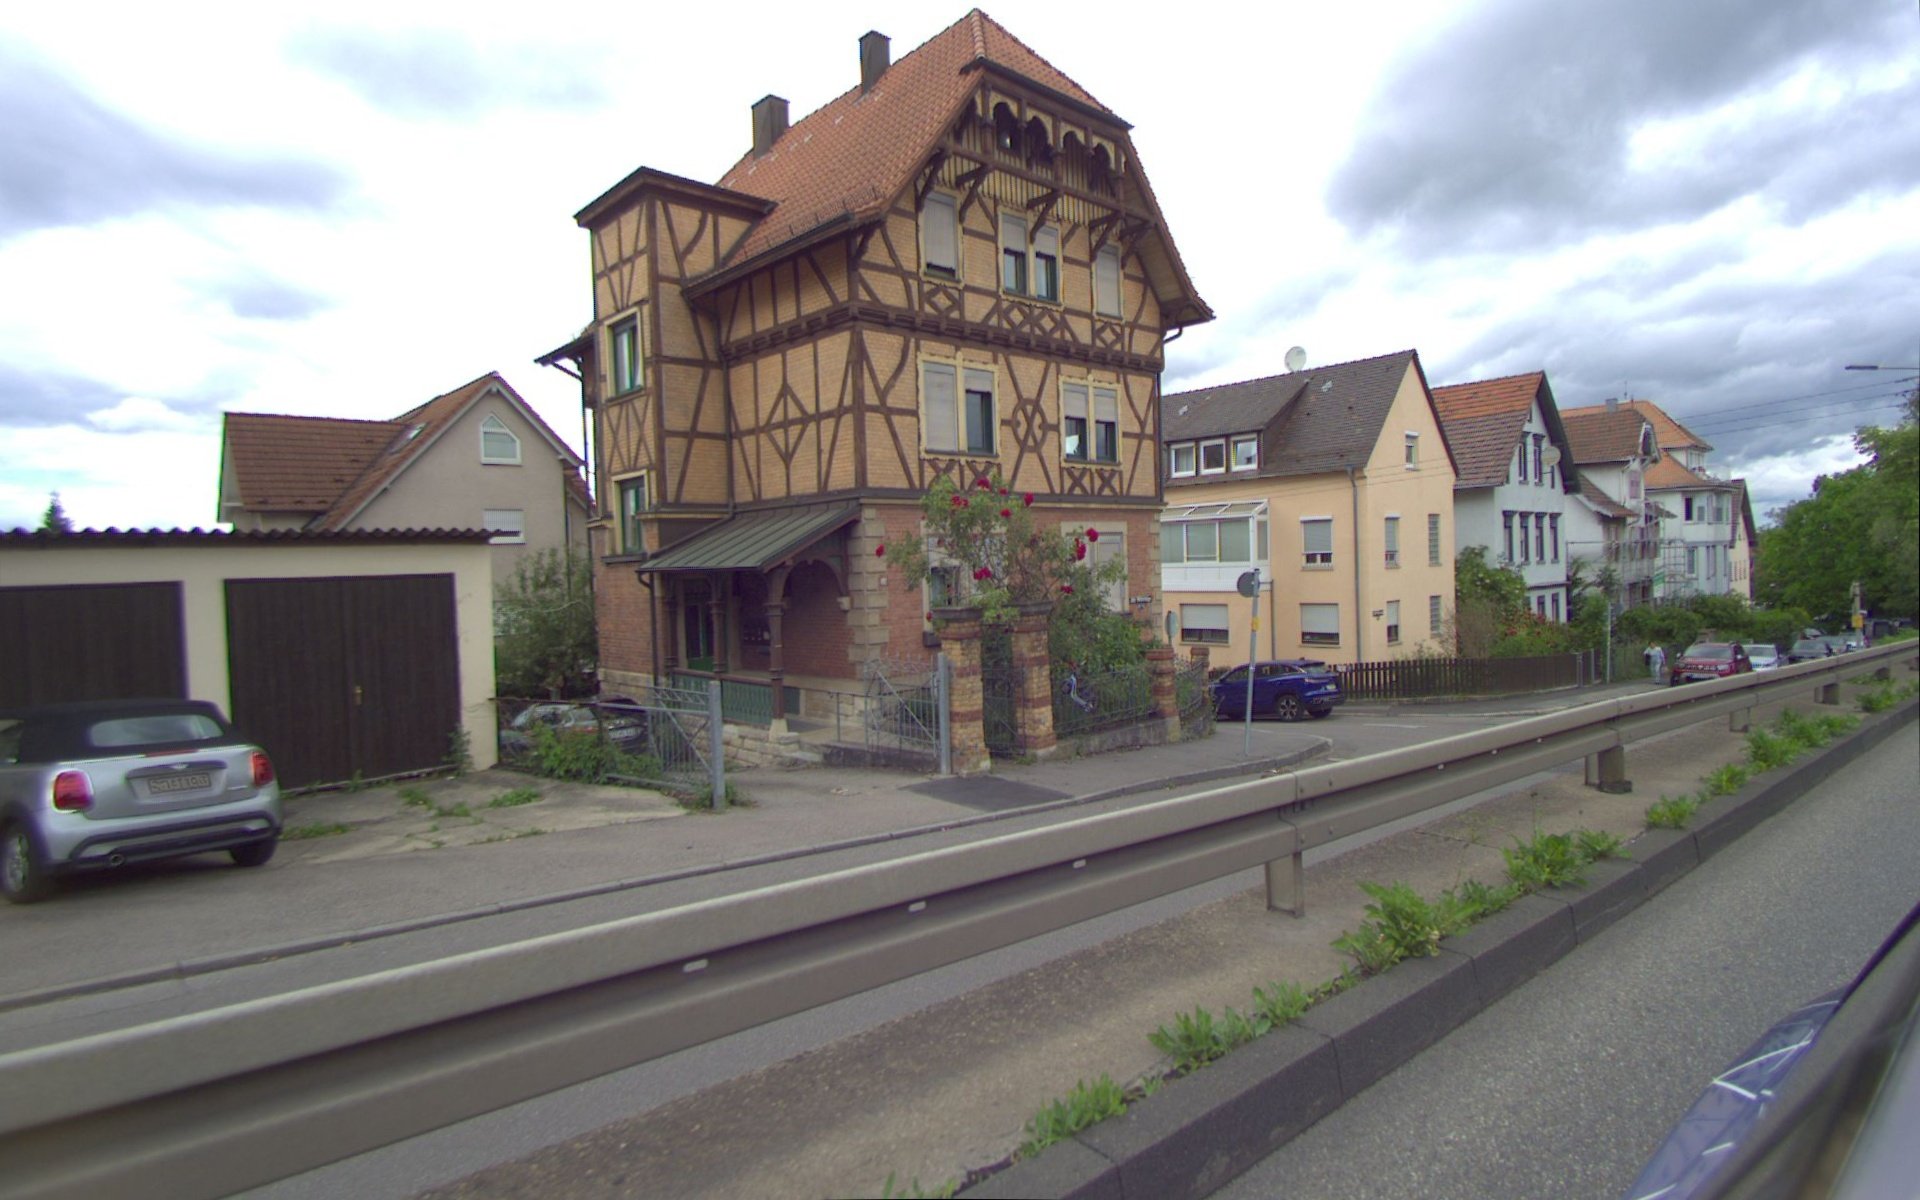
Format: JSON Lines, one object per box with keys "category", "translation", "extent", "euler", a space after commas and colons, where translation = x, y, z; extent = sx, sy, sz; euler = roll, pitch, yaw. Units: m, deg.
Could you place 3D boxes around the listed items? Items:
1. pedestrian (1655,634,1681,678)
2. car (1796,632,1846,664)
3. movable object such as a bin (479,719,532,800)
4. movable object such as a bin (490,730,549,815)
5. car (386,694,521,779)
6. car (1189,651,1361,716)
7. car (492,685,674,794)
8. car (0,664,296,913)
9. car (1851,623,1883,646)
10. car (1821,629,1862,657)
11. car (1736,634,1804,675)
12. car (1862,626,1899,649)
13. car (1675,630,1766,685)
{"category": "pedestrian", "translation": [24.757, 1.962, 35.394], "extent": [0.579, 1.499, 0.619], "euler": [1, -1, -42]}
{"category": "car", "translation": [44.534, 2.449, 52.315], "extent": [3.990, 1.466, 1.620], "euler": [0, -1, -44]}
{"category": "movable object such as a bin", "translation": [-6.617, 2.310, 14.729], "extent": [0.578, 1.059, 0.578], "euler": [1, -2, -38]}
{"category": "movable object such as a bin", "translation": [-5.968, 2.318, 13.714], "extent": [0.611, 1.018, 0.534], "euler": [1, -2, -39]}
{"category": "car", "translation": [-11.268, 2.975, 22.399], "extent": [1.803, 1.604, 3.663], "euler": [0, -6, -41]}
{"category": "car", "translation": [8.570, 2.300, 27.751], "extent": [1.966, 1.595, 3.989], "euler": [1, -5, -43]}
{"category": "car", "translation": [-6.727, 2.401, 17.850], "extent": [1.803, 1.604, 3.663], "euler": [0, -6, -41]}
{"category": "car", "translation": [-7.495, 1.396, 8.594], "extent": [3.585, 1.453, 1.685], "euler": [2, -1, 31]}
{"category": "car", "translation": [63.648, 2.402, 71.065], "extent": [1.617, 1.541, 4.239], "euler": [-1, -1, 41]}
{"category": "car", "translation": [51.410, 2.491, 58.999], "extent": [1.619, 1.466, 3.965], "euler": [-1, -1, 44]}
{"category": "car", "translation": [33.006, 2.185, 41.182], "extent": [4.359, 1.459, 1.620], "euler": [0, -1, -44]}
{"category": "car", "translation": [60.461, 2.430, 66.457], "extent": [1.646, 1.413, 3.709], "euler": [-1, -1, 44]}
{"category": "car", "translation": [26.213, 1.927, 34.827], "extent": [4.131, 1.691, 1.784], "euler": [0, -1, -43]}
